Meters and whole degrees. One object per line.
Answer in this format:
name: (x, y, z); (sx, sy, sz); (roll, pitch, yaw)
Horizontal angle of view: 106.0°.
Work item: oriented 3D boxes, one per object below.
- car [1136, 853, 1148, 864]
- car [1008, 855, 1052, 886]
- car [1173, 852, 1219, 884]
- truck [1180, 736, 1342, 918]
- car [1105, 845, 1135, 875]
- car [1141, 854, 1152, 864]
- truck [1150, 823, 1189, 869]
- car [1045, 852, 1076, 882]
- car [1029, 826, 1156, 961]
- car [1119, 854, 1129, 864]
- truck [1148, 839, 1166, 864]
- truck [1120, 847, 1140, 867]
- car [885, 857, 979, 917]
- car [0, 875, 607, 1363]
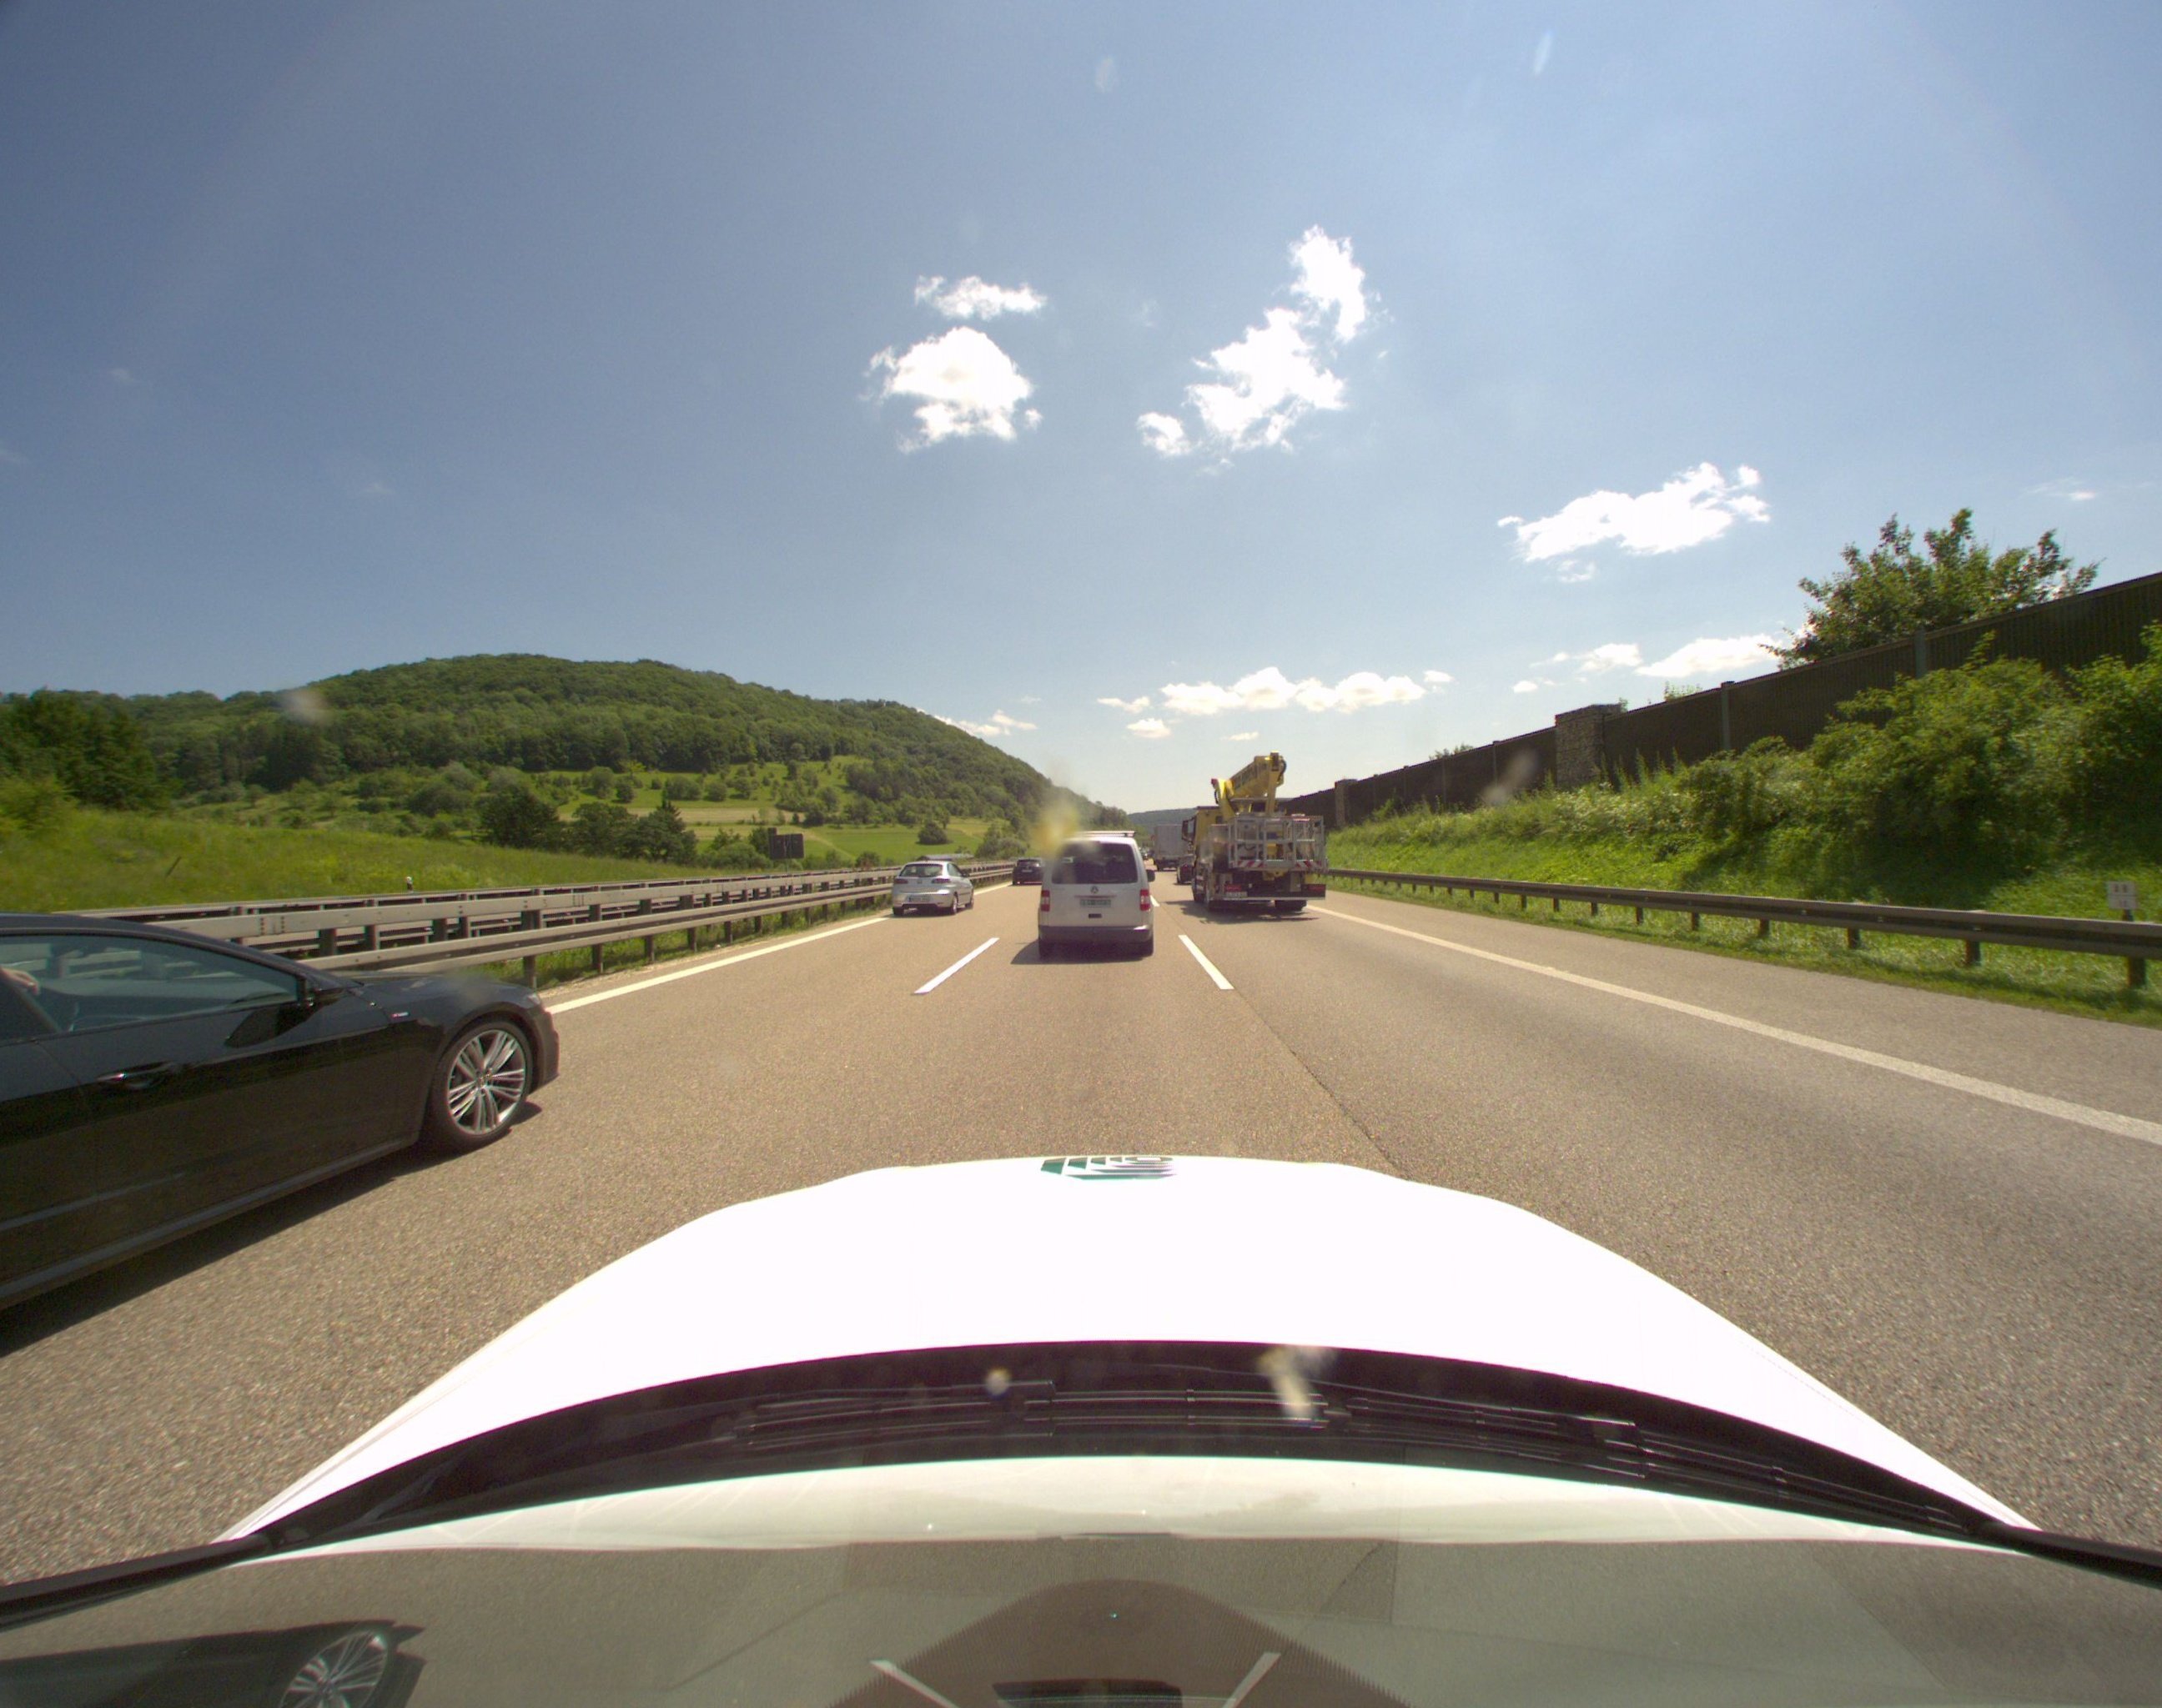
car: (10.199, 0.783, 136.864); (1.985, 1.805, 4.003); (-1, -1, 3)
car: (-2.626, 0.835, 42.911); (1.917, 1.499, 4.002); (-1, 0, 2)
car: (5.584, 0.663, 39.910); (1.779, 1.458, 3.772); (-1, 0, 2)
truck: (4.511, -0.596, 22.339); (2.694, 3.942, 8.725); (-1, 0, 2)
car: (2.714, 0.419, 57.528); (1.986, 1.975, 4.002); (-1, 0, 2)
car: (12.640, 0.953, 157.755); (1.985, 1.805, 4.003); (-1, -1, 3)
truck: (7.577, -0.616, 70.979); (2.928, 3.823, 8.243); (-1, -1, 3)
car: (-1.455, 0.900, 59.499); (1.986, 2.013, 4.002); (-2, 0, 2)
car: (0.235, 0.564, 13.520); (1.749, 1.868, 4.002); (-1, 0, 2)
car: (8.246, 1.011, 156.125); (1.985, 1.805, 4.003); (-1, -1, 3)
truck: (10.140, -0.251, 109.430); (1.986, 3.251, 6.802); (-1, -1, 2)
truck: (6.493, 0.380, 108.242); (2.381, 2.541, 5.942); (-1, 0, 2)
car: (-3.997, 0.844, 22.415); (1.689, 1.445, 3.864); (-1, 0, 2)
car: (-4.130, 0.853, 2.882); (1.793, 1.390, 4.972); (-1, 0, 2)
